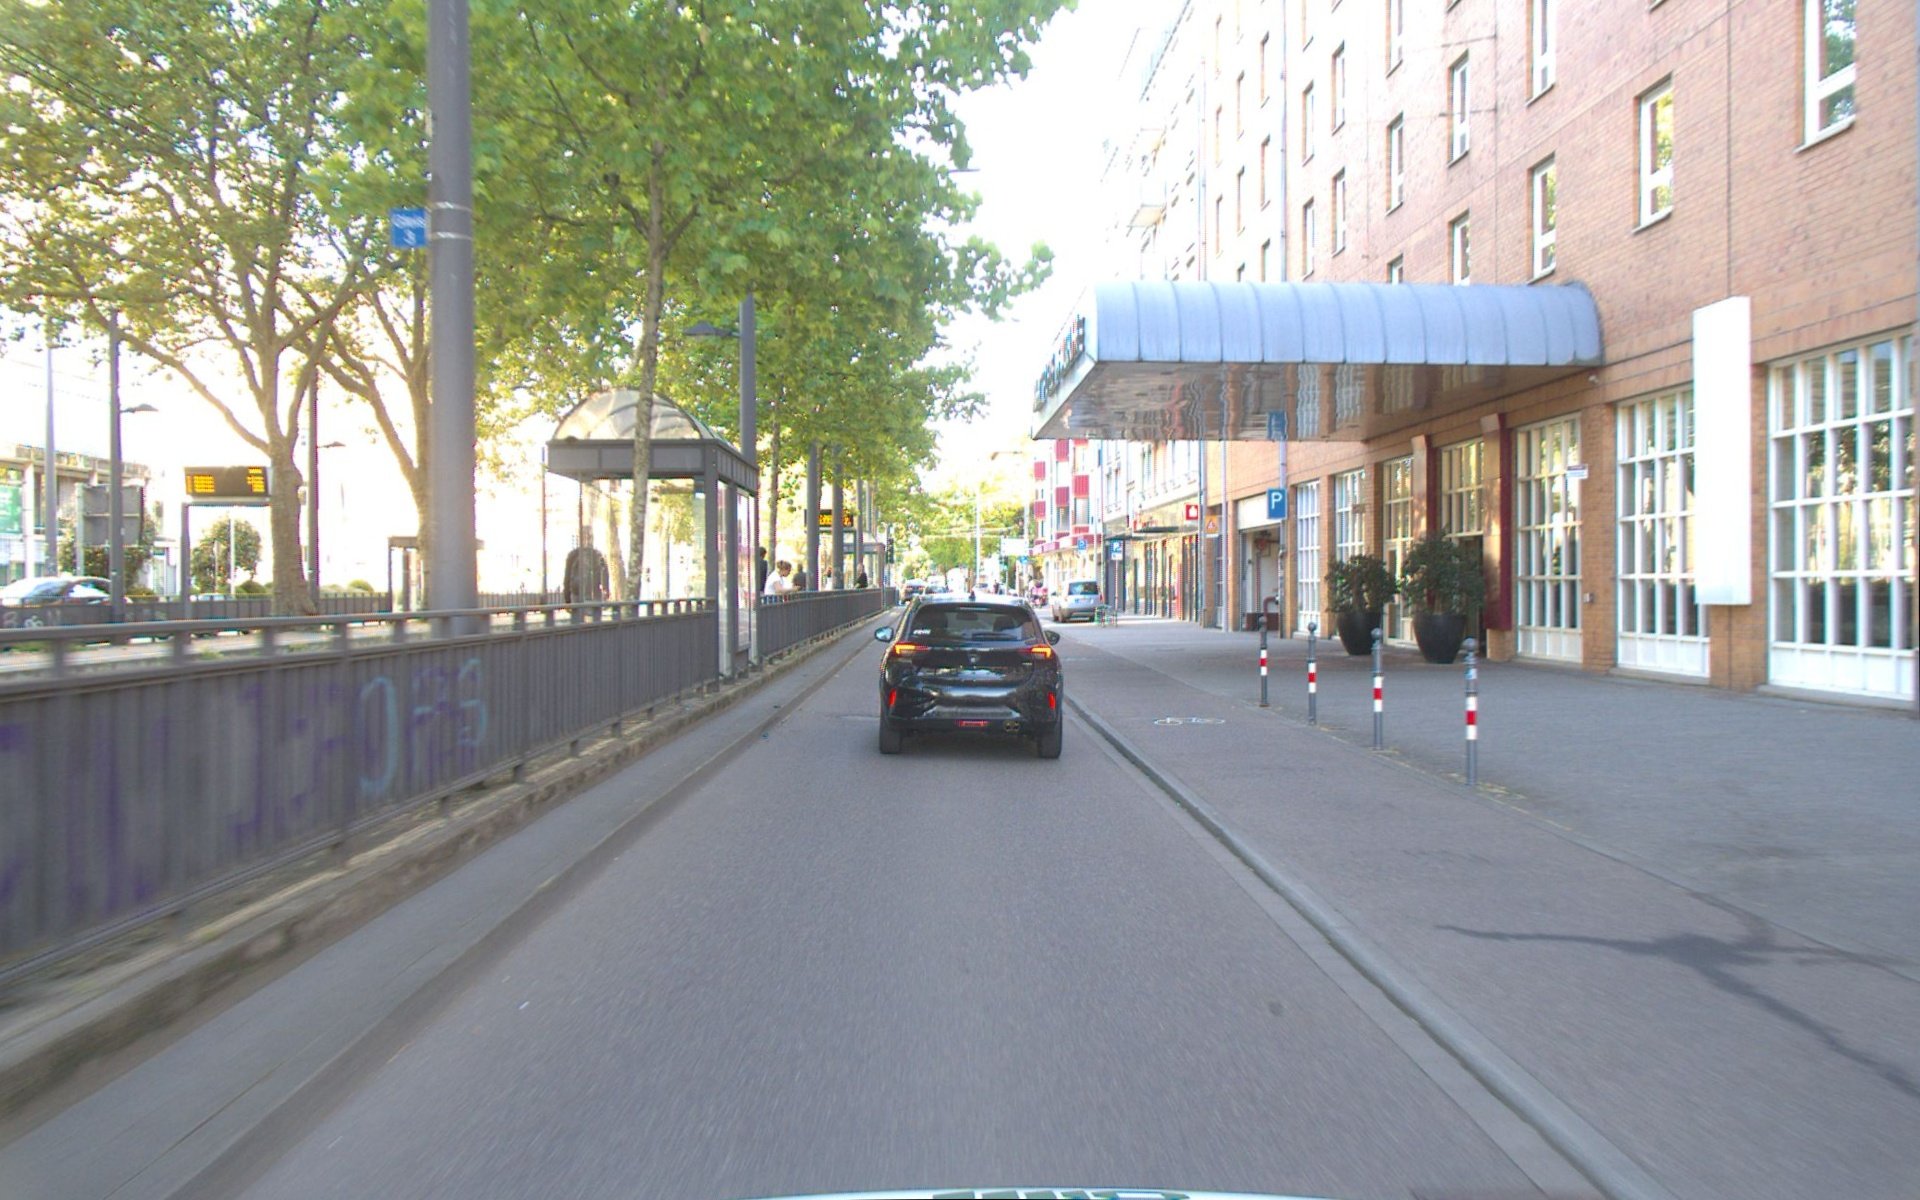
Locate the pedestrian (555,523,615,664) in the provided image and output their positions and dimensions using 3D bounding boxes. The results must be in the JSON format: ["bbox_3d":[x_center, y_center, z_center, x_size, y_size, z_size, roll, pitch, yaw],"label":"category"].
[{"bbox_3d":[-4.644,-0.079,20.497,0.592,1.709,0.486,-2,0,-1],"label":"pedestrian"}]

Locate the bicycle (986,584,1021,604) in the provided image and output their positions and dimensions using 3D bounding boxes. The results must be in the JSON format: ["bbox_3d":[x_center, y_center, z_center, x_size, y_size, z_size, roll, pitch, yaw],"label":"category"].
[{"bbox_3d":[2.825,-0.405,107.804,2.307,1.255,0.684,0,0,1],"label":"bicycle"}]

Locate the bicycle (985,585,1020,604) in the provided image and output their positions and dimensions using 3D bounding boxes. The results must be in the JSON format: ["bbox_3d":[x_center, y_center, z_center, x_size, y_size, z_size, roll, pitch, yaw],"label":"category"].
[{"bbox_3d":[2.805,-0.369,109.512,2.307,1.255,0.684,0,0,1],"label":"bicycle"}]

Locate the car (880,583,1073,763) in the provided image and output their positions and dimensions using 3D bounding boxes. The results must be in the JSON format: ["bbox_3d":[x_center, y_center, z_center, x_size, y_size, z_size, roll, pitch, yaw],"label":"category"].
[{"bbox_3d":[0.206,0.602,15.876,1.637,1.528,3.692,0,1,2],"label":"car"}]

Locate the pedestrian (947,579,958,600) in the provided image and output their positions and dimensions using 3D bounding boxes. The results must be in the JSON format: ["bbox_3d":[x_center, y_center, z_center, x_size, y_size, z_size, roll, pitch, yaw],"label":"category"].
[{"bbox_3d":[-0.643,-0.884,137.649,0.898,1.806,1.150,0,0,-3],"label":"pedestrian"}]

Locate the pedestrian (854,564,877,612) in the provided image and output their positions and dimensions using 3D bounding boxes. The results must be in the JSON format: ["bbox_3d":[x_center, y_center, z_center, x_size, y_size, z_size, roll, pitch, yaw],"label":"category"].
[{"bbox_3d":[-2.896,-0.360,50.637,0.708,1.470,0.626,0,0,-5],"label":"pedestrian"}]

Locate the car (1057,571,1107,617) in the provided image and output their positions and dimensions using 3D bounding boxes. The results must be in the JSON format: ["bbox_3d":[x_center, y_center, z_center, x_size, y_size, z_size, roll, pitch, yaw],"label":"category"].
[{"bbox_3d":[4.577,-0.252,62.411,1.637,1.681,3.690,0,1,0],"label":"car"}]

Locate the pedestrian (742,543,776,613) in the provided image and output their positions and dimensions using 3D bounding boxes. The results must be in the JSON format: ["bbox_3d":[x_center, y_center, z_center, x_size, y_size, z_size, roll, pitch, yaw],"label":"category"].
[{"bbox_3d":[-4.069,-0.436,33.476,0.592,1.389,0.486,-2,0,-1],"label":"pedestrian"}]

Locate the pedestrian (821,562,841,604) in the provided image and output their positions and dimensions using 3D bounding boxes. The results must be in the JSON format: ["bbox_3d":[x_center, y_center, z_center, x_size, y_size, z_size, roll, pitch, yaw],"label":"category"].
[{"bbox_3d":[-4.336,-0.585,55.581,0.592,1.389,0.486,-2,0,-1],"label":"pedestrian"}]

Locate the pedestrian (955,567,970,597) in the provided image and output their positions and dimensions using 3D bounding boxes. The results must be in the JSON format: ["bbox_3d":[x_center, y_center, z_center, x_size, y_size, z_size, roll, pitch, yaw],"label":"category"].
[{"bbox_3d":[0.252,-1.721,161.724,1.137,2.922,0.909,-1,0,-34],"label":"pedestrian"}]

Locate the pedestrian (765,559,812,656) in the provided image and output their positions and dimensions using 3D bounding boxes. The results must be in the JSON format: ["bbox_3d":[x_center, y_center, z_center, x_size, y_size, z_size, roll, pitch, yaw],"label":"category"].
[{"bbox_3d":[-2.636,0.106,25.485,0.708,1.470,0.626,0,0,-5],"label":"pedestrian"}]

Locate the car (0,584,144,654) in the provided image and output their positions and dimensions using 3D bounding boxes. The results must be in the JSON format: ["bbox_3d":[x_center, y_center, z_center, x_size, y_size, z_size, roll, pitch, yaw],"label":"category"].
[{"bbox_3d":[-19.325,0.392,35.423,1.631,1.431,4.001,0,0,1],"label":"car"}]

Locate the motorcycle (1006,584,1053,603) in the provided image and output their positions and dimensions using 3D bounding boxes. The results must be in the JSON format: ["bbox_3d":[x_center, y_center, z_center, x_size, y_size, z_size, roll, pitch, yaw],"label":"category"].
[{"bbox_3d":[4.041,-0.399,96.395,1.291,1.077,3.066,0,1,-30],"label":"motorcycle"}]

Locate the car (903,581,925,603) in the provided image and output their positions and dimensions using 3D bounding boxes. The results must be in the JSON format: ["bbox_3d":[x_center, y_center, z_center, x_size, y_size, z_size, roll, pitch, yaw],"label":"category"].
[{"bbox_3d":[-3.286,-0.600,118.492,1.581,1.528,3.689,0,1,-2],"label":"car"}]

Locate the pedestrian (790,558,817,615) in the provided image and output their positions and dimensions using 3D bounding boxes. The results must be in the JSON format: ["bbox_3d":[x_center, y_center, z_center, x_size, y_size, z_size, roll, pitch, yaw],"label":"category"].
[{"bbox_3d":[-3.929,-0.335,41.440,0.592,1.389,0.486,-2,0,-1],"label":"pedestrian"}]

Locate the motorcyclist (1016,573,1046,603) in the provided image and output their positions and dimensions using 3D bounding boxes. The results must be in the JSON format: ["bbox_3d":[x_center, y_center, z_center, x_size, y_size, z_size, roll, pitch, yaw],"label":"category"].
[{"bbox_3d":[4.124,-0.710,96.266,1.291,1.727,1.224,0,1,-31],"label":"motorcyclist"}]

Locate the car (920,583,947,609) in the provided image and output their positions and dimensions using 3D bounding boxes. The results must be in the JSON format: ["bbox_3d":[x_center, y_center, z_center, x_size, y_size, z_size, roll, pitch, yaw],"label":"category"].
[{"bbox_3d":[-1.638,-0.264,100.399,1.581,1.528,3.689,0,1,-2],"label":"car"}]

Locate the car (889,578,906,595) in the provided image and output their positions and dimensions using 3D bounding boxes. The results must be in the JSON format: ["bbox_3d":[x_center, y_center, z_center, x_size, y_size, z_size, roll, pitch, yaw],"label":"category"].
[{"bbox_3d":[-5.767,-1.234,152.570,1.581,1.528,3.689,0,1,-2],"label":"car"}]

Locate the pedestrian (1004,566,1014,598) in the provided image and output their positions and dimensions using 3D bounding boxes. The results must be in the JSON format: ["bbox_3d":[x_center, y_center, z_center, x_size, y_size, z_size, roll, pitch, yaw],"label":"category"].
[{"bbox_3d":[4.550,-1.664,154.237,0.898,2.922,1.150,0,0,-2],"label":"pedestrian"}]
